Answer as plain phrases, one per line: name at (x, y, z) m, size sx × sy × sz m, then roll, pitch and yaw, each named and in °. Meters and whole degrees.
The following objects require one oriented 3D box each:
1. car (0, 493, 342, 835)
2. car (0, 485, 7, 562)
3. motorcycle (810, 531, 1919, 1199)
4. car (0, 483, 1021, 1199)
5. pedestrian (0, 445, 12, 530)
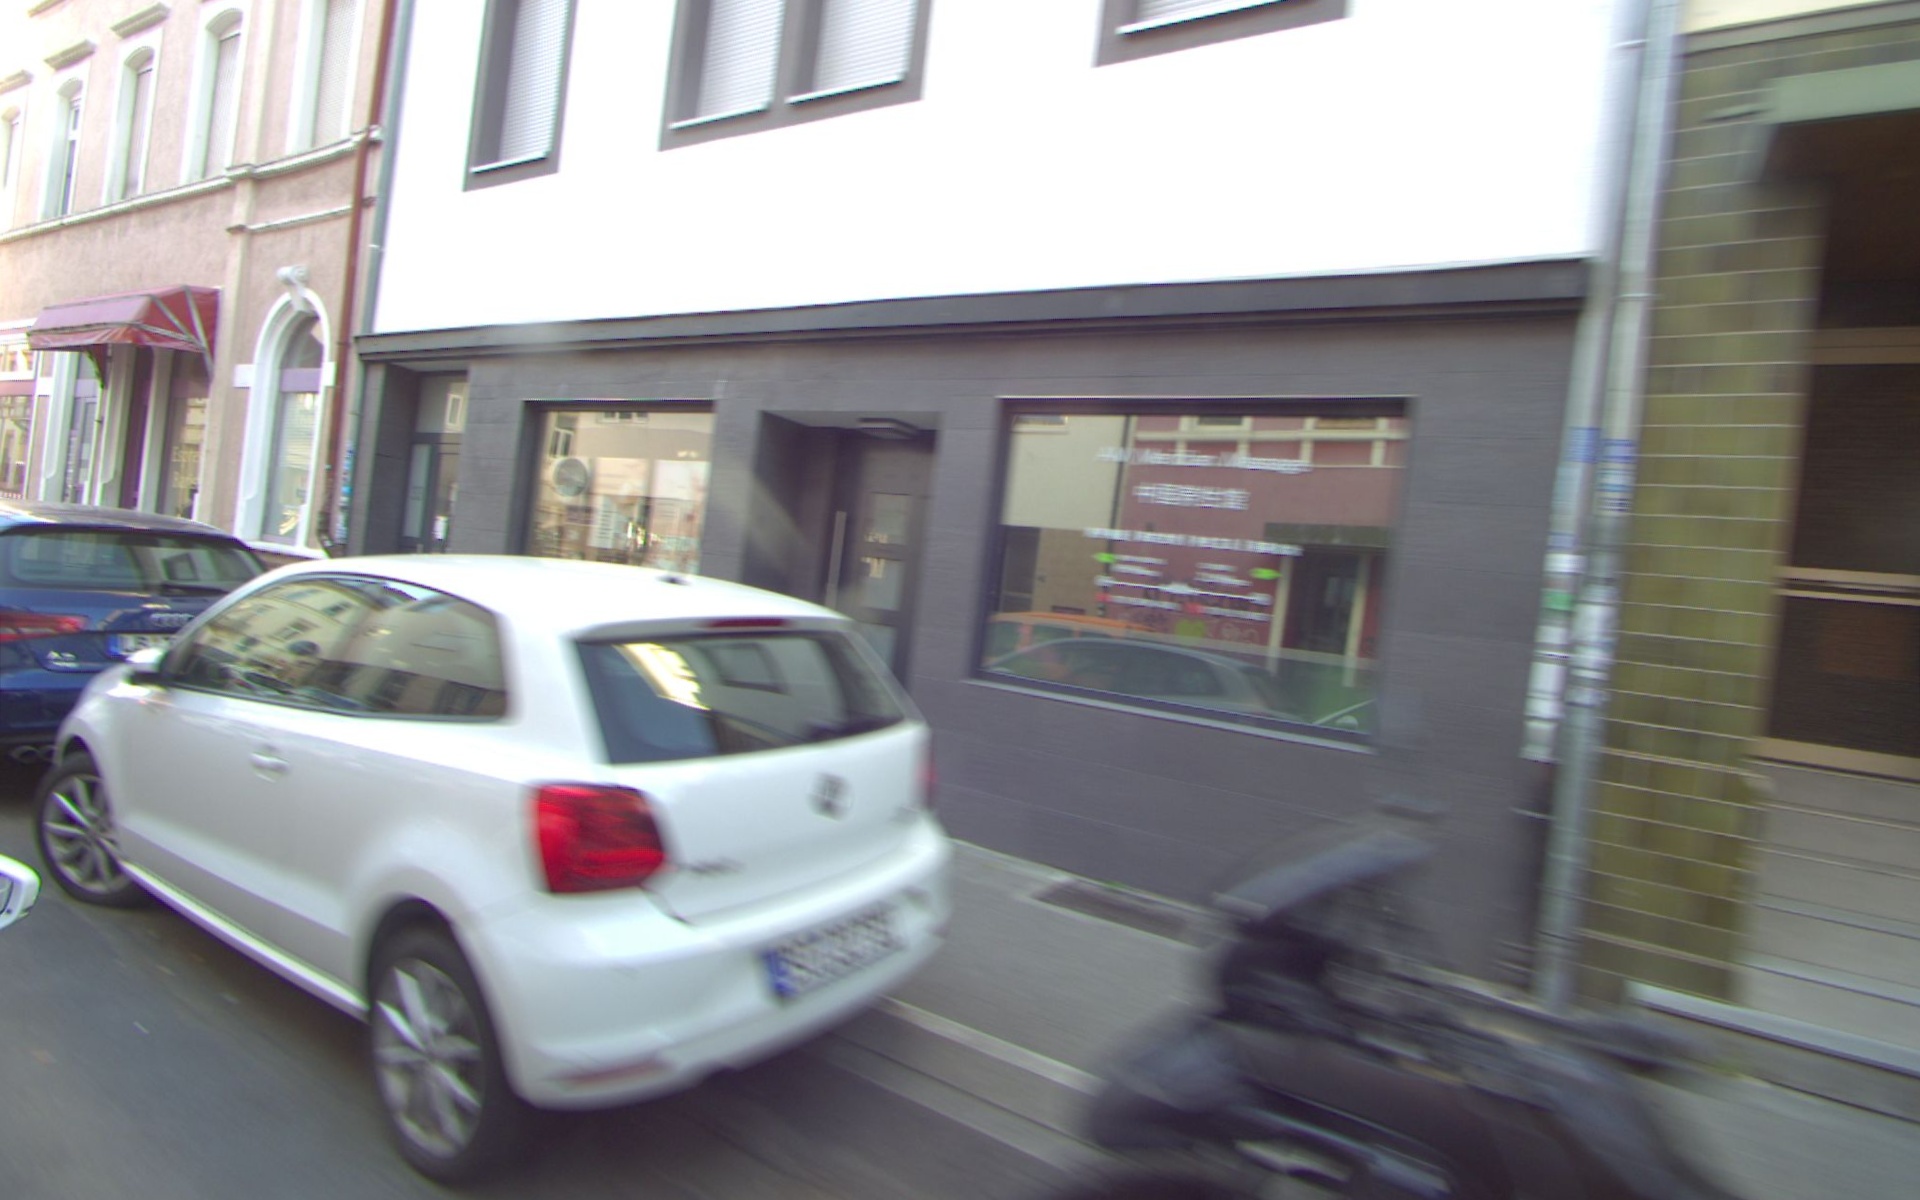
car at (-5.581, 0.138, 5.977) m, size 3.905 × 1.495 × 1.645 m, roll 6°, pitch 3°, yaw 32°
car at (-10.402, -0.475, 9.068) m, size 3.738 × 1.505 × 1.751 m, roll 6°, pitch 0°, yaw 33°
motorcycle at (0.985, 0.773, 1.432) m, size 2.382 × 1.507 × 0.748 m, roll 6°, pitch -1°, yaw 32°
car at (-1.870, 0.490, 3.746) m, size 3.754 × 1.525 × 1.667 m, roll 6°, pitch 2°, yaw 33°
pedestrian at (-12.645, -0.994, 12.674) m, size 0.751 × 2.037 × 0.645 m, roll 6°, pitch -1°, yaw 31°
